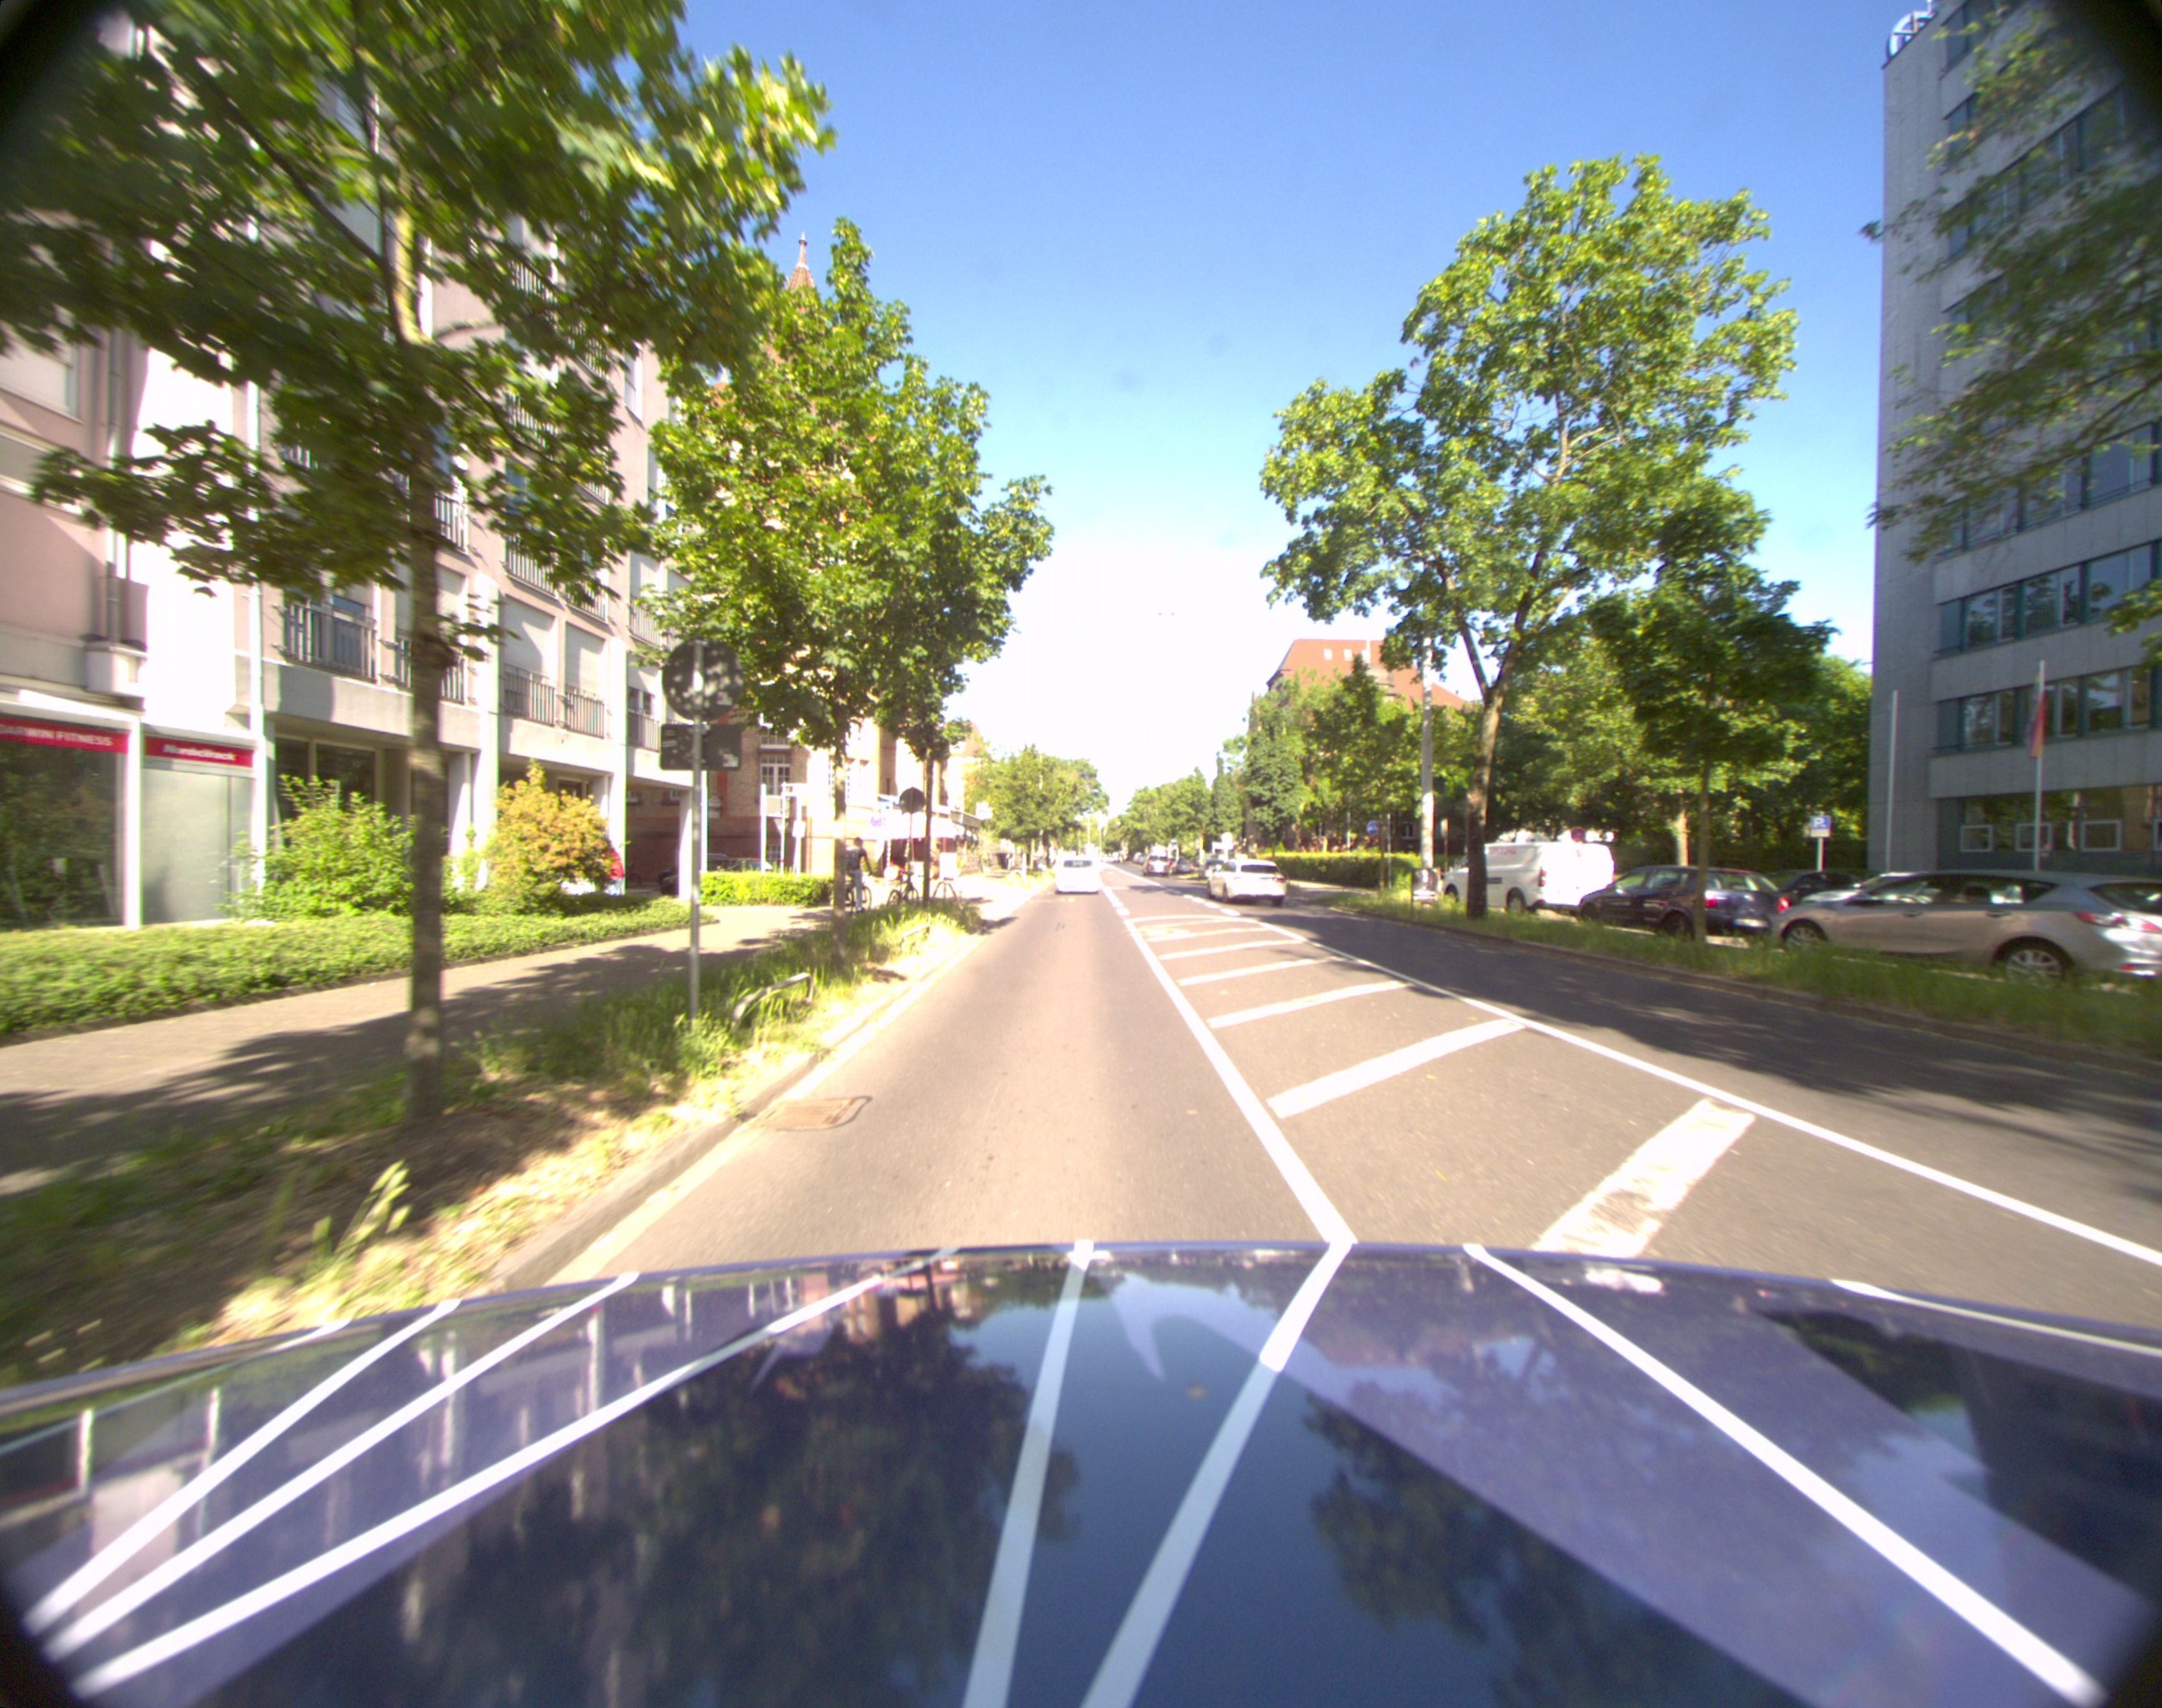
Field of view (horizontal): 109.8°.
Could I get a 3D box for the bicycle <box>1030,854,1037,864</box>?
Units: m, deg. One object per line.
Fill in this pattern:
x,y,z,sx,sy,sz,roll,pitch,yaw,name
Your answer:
-5.021,0.539,80.506,0.687,1.022,2.095,0,1,-1,bicycle

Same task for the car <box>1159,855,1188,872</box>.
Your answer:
9.229,0.915,76.123,1.861,1.485,4.703,-3,0,-5,car

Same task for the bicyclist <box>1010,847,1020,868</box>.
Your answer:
-5.433,0.299,62.273,0.647,1.685,0.889,4,0,1,bicyclist

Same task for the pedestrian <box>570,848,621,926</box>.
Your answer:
-10.303,0.689,16.140,0.655,1.595,0.603,3,1,-6,pedestrian

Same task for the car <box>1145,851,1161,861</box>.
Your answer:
10.269,0.269,108.904,1.698,1.448,4.663,2,0,-1,car

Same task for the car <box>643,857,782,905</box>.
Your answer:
-12.660,0.896,26.186,3.950,1.514,1.863,-1,2,13,car

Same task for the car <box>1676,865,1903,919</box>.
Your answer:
20.793,1.084,22.494,4.680,1.504,2.010,0,0,5,car

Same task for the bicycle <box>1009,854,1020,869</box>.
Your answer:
-5.450,0.619,62.255,0.654,1.169,1.843,4,0,1,bicycle

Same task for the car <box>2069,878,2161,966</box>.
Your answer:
21.459,1.224,13.977,4.316,1.514,1.861,-1,0,-3,car

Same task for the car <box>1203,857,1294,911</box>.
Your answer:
5.531,0.932,25.701,1.861,1.559,4.714,2,0,-1,car

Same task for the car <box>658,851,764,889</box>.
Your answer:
-16.155,0.664,33.241,3.949,1.515,1.797,1,3,16,car

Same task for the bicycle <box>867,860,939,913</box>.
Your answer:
-3.810,0.664,16.432,0.591,1.059,2.025,0,0,17,bicycle

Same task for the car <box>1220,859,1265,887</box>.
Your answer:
8.848,1.017,42.015,1.716,1.450,4.072,-1,0,2,car

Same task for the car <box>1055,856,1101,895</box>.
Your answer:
-0.071,0.833,30.937,1.652,1.449,3.897,0,0,3,car

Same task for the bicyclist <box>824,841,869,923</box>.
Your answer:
-4.969,0.574,16.131,0.669,1.685,0.889,0,1,-1,bicyclist

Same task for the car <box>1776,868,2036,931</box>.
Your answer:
20.929,1.117,19.420,4.625,1.434,1.937,-1,0,-1,car

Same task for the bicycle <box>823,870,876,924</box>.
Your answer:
-4.927,0.900,16.294,0.591,1.022,1.859,0,1,-1,bicycle

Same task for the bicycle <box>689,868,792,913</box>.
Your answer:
-8.360,0.886,18.706,2.201,1.021,0.687,2,-2,2,bicycle

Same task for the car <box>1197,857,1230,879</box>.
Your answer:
9.134,0.929,52.779,1.692,1.375,4.191,-2,0,3,car

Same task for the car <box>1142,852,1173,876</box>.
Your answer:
6.045,0.752,60.652,1.860,1.814,4.609,2,0,-1,car

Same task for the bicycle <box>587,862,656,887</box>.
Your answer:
-21.376,0.936,35.425,1.057,1.021,2.773,-1,1,15,bicycle

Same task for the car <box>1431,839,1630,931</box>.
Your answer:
11.666,0.709,20.274,1.986,2.064,5.195,2,0,-2,car

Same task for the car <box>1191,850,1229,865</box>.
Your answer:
15.629,0.406,91.812,4.150,1.660,1.996,-2,-1,-33,car

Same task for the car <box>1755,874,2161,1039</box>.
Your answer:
11.519,1.084,9.784,1.860,1.514,4.318,-1,0,0,car

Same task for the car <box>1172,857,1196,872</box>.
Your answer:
9.274,0.936,68.572,1.682,1.248,4.015,-1,0,1,car

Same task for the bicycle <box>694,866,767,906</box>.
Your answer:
-9.561,0.877,20.861,0.686,1.021,2.205,2,-2,9,bicycle

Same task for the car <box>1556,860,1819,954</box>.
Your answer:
11.448,0.894,14.819,1.786,1.514,4.319,-1,0,2,car

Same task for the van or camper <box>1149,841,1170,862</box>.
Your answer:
10.682,-0.311,103.411,2.222,2.723,6.088,0,0,0,van or camper
